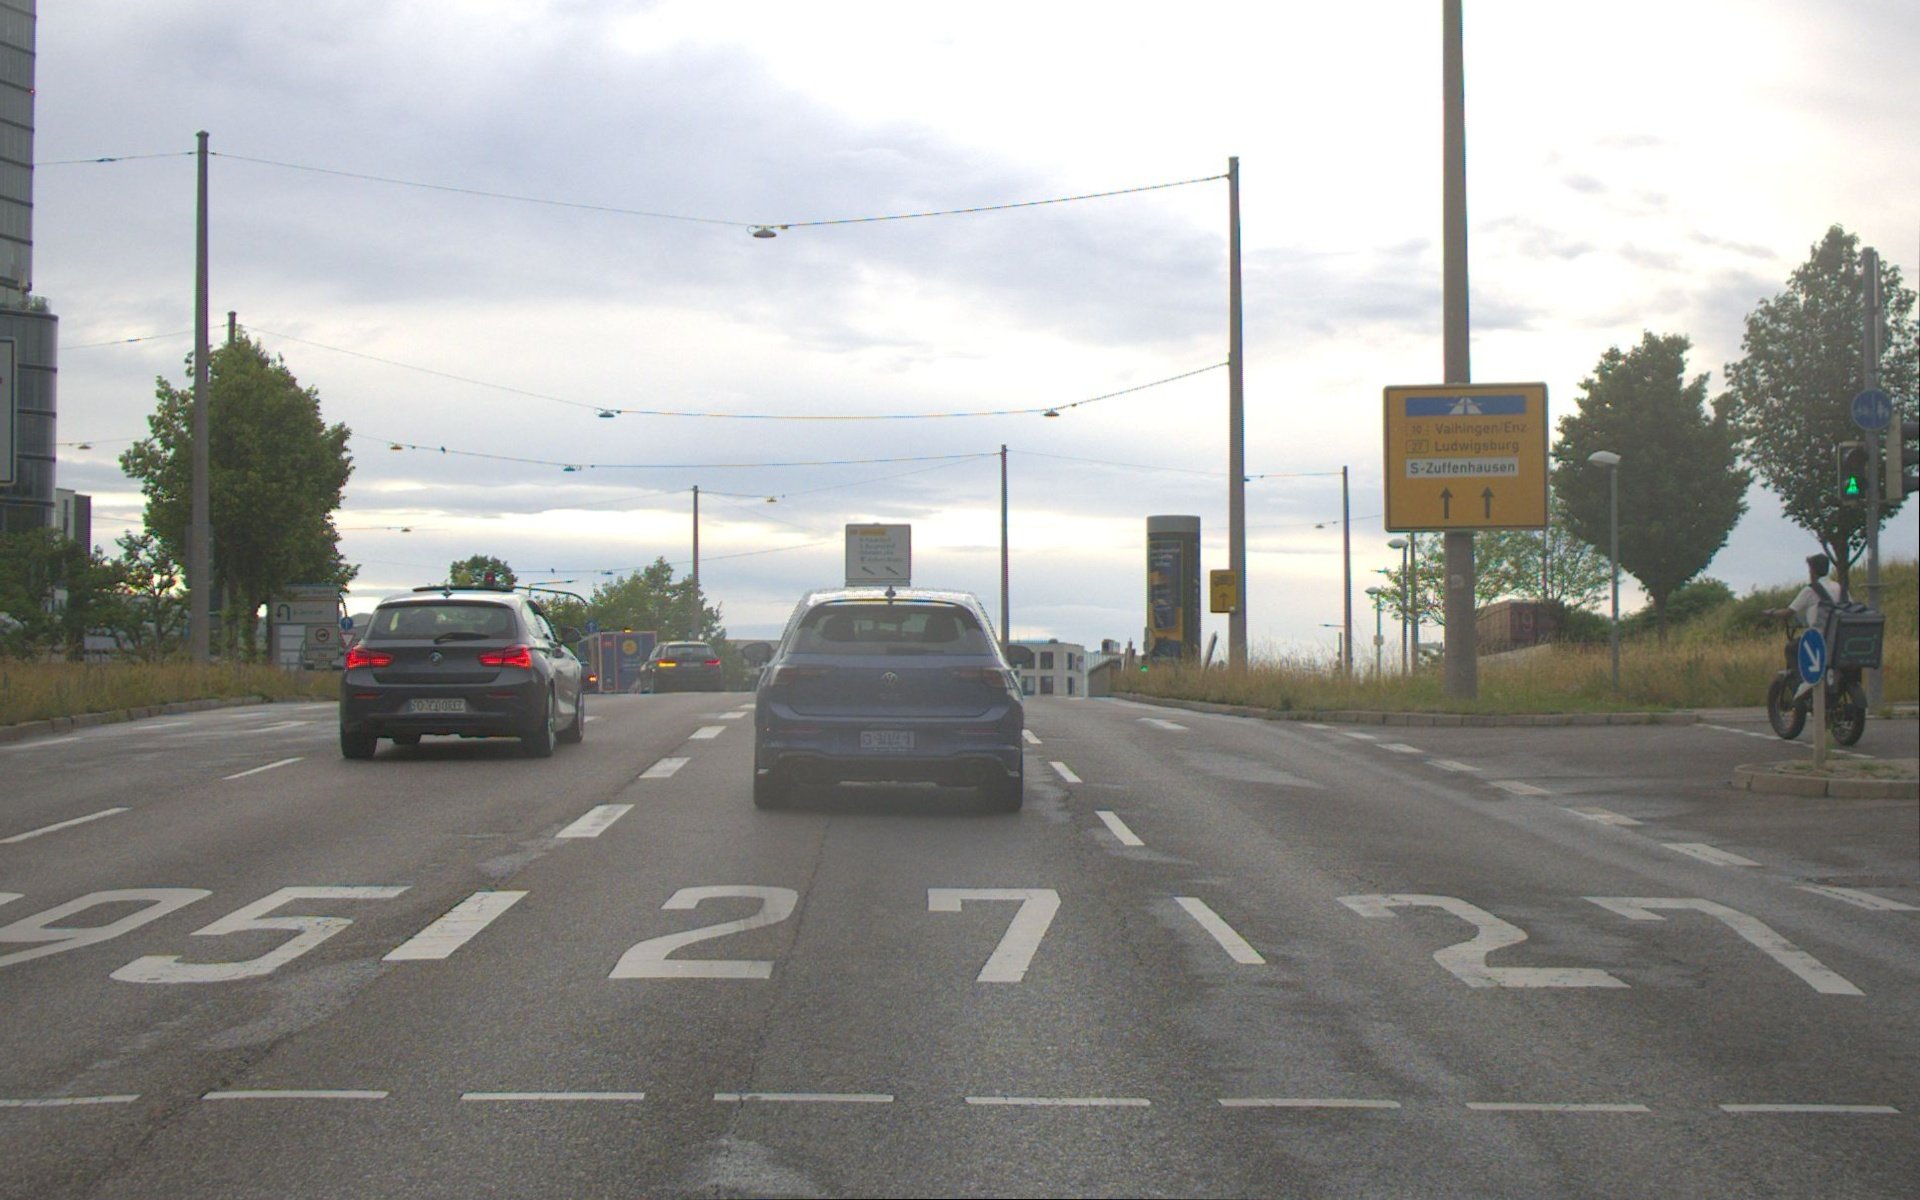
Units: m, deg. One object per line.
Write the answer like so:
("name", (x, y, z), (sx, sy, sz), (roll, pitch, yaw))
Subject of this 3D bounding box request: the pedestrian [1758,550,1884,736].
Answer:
("pedestrian", (7.551, 0.367, 30.174), (0.632, 1.565, 0.896), (-4, 1, -15))

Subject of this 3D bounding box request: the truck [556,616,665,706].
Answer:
("truck", (-13.119, 2.314, 128.572), (2.665, 3.209, 6.550), (2, -2, -18))

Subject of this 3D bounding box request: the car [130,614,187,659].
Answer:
("car", (-30.442, 1.417, 130.470), (1.892, 1.653, 4.606), (1, -1, -15))

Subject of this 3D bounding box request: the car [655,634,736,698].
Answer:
("car", (-6.940, 1.721, 90.498), (1.722, 1.536, 3.703), (2, 0, 1))

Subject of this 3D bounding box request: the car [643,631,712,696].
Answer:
("car", (-9.229, 2.083, 112.018), (1.904, 1.966, 5.093), (-1, -2, -8))

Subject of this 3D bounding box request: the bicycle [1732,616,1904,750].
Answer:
("bicycle", (7.545, 0.715, 30.313), (0.632, 1.101, 1.754), (-4, 1, -15))

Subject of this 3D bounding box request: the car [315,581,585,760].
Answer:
("car", (-4.403, 0.570, 30.217), (1.869, 1.456, 3.976), (0, 0, -1))

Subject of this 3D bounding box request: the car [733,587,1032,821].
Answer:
("car", (-0.482, 0.644, 23.499), (1.838, 1.389, 4.000), (1, 1, 0))
